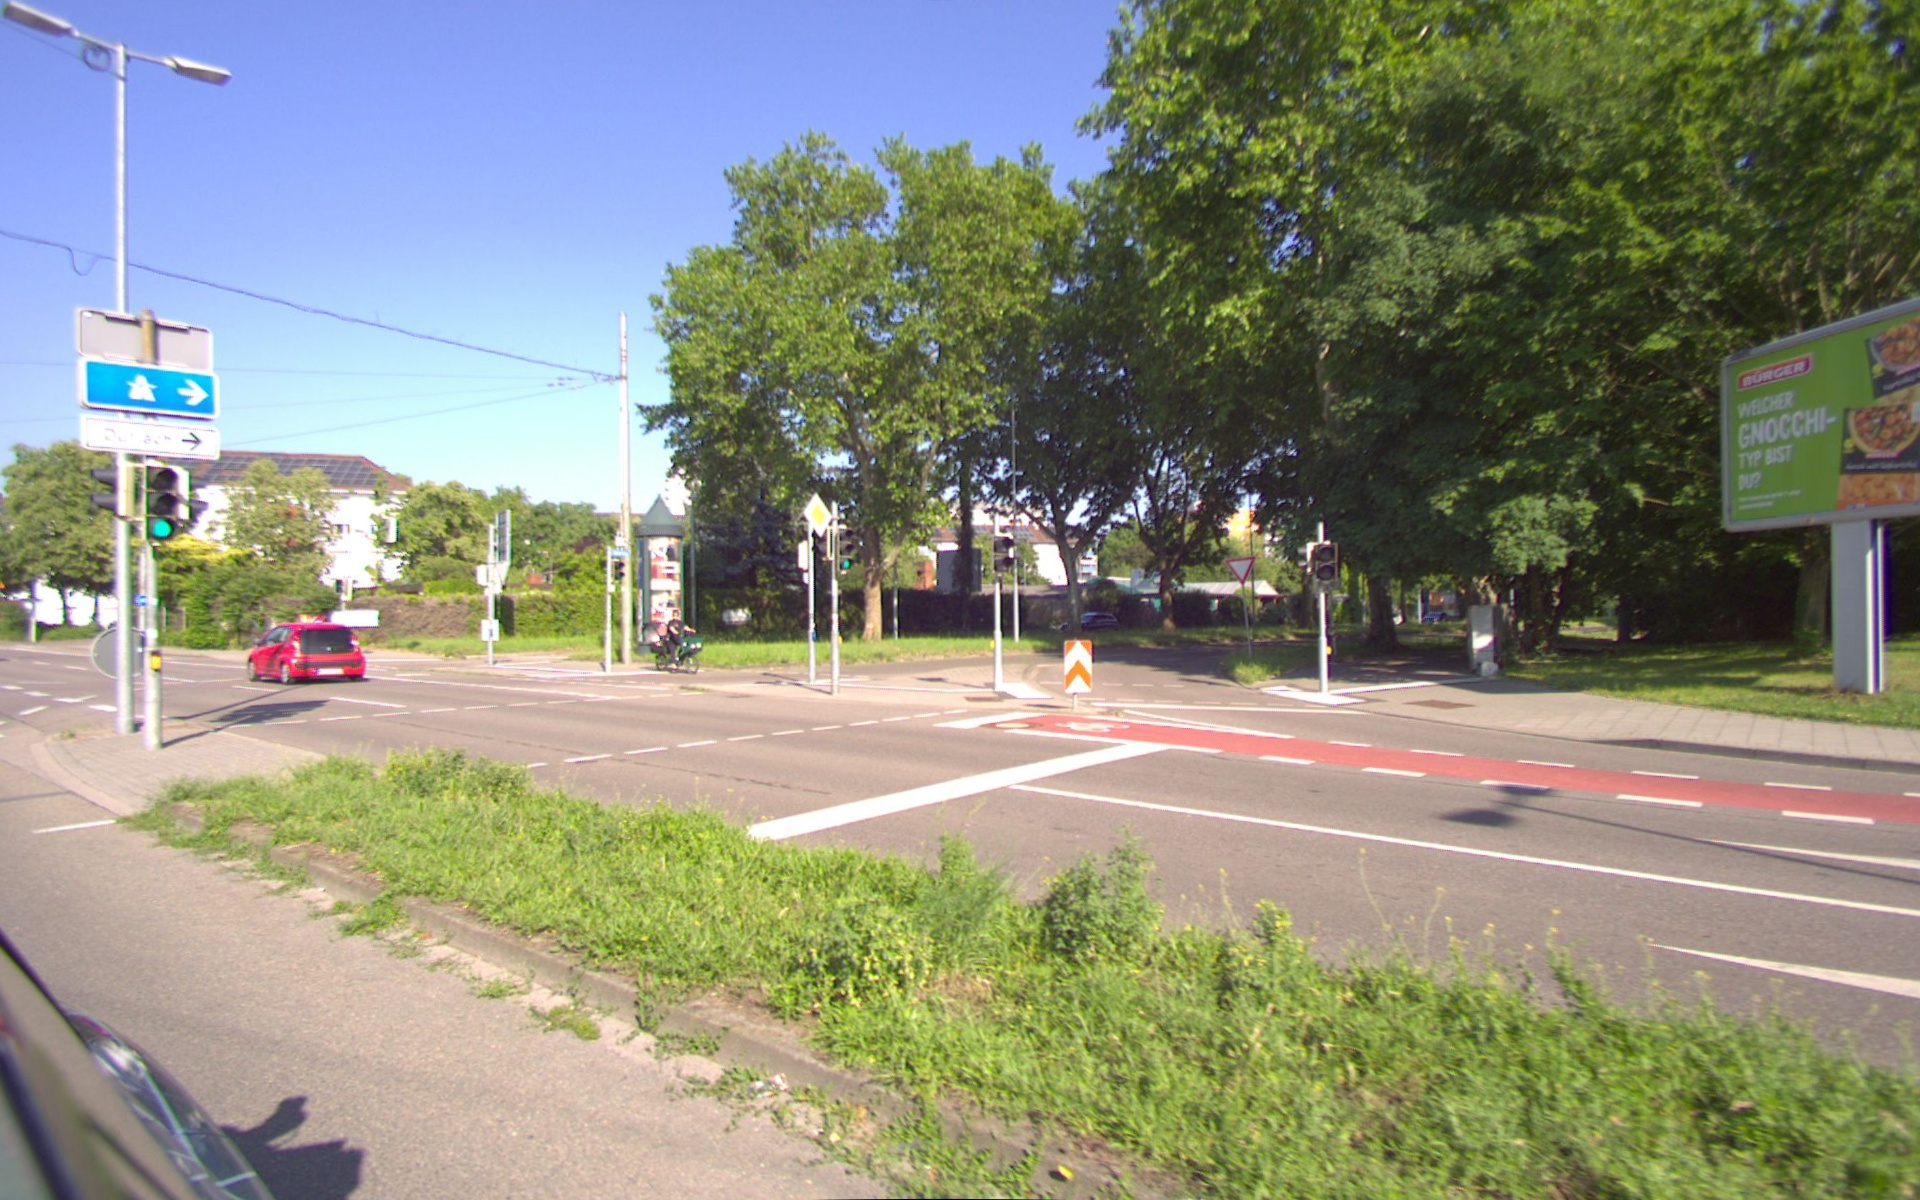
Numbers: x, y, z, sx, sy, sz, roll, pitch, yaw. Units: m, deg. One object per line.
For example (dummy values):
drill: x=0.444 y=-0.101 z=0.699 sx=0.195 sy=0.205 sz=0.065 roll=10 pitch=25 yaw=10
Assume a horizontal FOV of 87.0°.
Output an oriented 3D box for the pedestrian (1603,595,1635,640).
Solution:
pedestrian: x=26.594 y=0.697 z=40.849 sx=0.676 sy=1.783 sz=0.879 roll=0 pitch=-1 yaw=-38

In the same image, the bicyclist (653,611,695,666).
bicyclist: x=-7.871 y=1.050 z=27.869 sx=1.050 sy=1.463 sz=0.655 roll=-1 pitch=-1 yaw=42

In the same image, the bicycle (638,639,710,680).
bicycle: x=-7.907 y=1.616 z=27.896 sx=2.580 sy=1.057 sz=0.654 roll=-1 pitch=-1 yaw=42

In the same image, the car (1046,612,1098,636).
car: x=7.123 y=1.493 z=64.237 sx=1.509 sy=1.317 sz=3.375 roll=-1 pitch=1 yaw=45

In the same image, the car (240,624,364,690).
car: x=-15.541 y=1.294 z=23.864 sx=3.330 sy=1.427 sz=1.558 roll=-1 pitch=-1 yaw=40
